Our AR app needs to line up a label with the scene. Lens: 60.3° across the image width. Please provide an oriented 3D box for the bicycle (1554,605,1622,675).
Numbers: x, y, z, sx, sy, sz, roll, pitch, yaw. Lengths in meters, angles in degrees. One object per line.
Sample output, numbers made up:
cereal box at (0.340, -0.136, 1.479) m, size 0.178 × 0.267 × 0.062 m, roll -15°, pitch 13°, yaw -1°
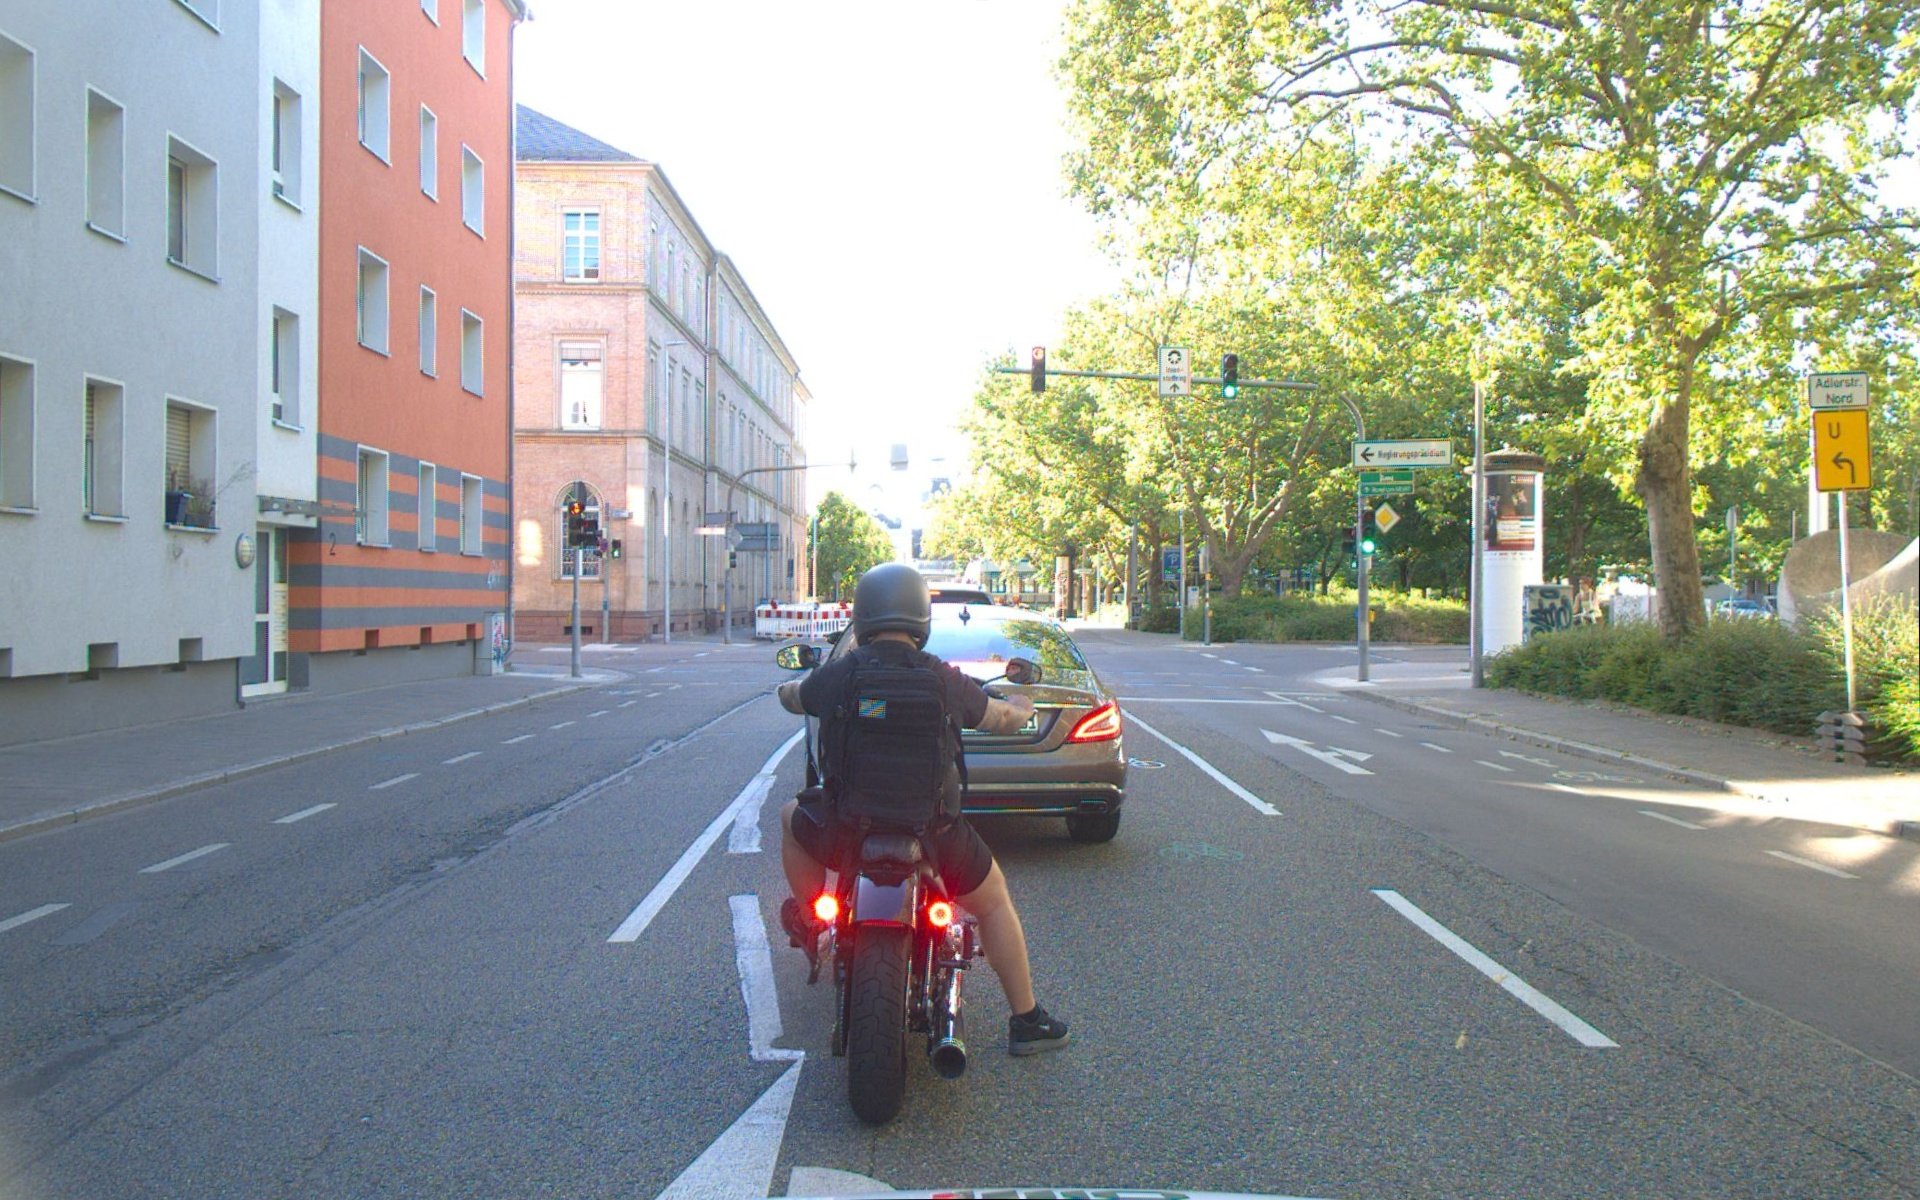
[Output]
bicycle at (11.100, 0.695, 29.203) m, size 0.703 × 1.193 × 2.170 m, roll 1°, pitch 0°, yaw 32°

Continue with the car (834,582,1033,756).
car at (-0.345, 0.609, 16.757) m, size 1.777 × 1.563 × 3.846 m, roll 0°, pitch 0°, yaw -3°

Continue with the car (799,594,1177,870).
car at (-0.037, 0.701, 11.109) m, size 1.867 × 1.466 × 4.280 m, roll 0°, pitch 0°, yaw -9°

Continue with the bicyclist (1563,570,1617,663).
bicyclist at (11.142, 0.293, 29.242) m, size 0.703 × 1.610 × 0.933 m, roll 1°, pitch -1°, yaw 32°

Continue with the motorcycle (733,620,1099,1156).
motorcycle at (-0.131, 0.775, 5.527) m, size 0.942 × 1.380 × 2.319 m, roll 1°, pitch 0°, yaw -1°

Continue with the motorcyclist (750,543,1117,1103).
motorcyclist at (-0.081, 0.650, 5.258) m, size 1.039 × 1.610 × 0.908 m, roll 1°, pitch 0°, yaw -1°
